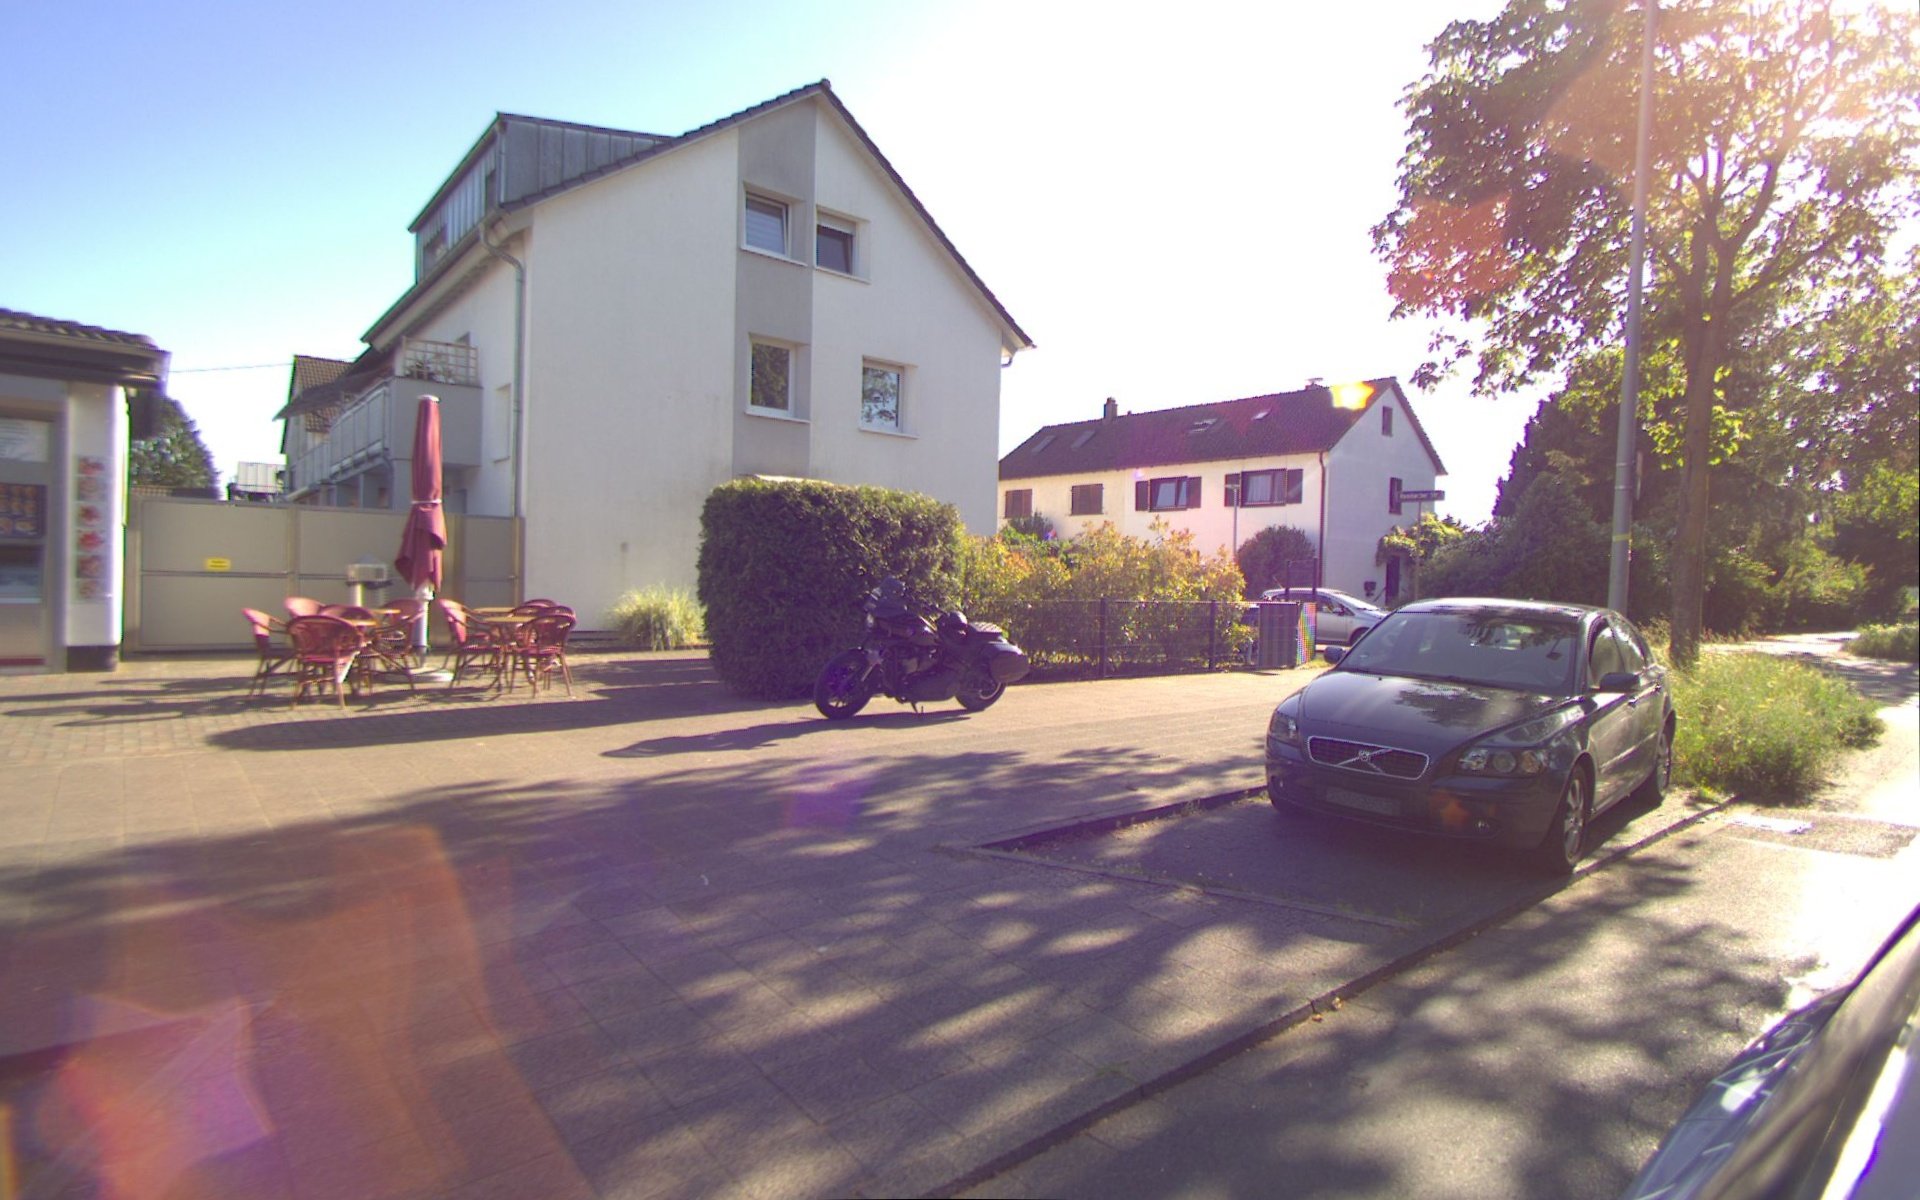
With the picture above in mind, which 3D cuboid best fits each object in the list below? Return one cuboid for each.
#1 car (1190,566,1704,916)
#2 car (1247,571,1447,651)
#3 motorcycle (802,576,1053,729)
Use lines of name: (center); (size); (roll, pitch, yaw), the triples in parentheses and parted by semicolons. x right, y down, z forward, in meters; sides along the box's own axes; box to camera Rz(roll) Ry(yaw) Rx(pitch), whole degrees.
car: (3.607, 0.679, 7.039); (1.993, 1.643, 4.313); (-2, -1, 43)
car: (8.952, 0.199, 23.616); (3.988, 1.660, 1.748); (2, 1, 44)
motorcycle: (-0.251, 0.432, 9.433); (2.311, 1.242, 0.819); (0, 2, -41)
